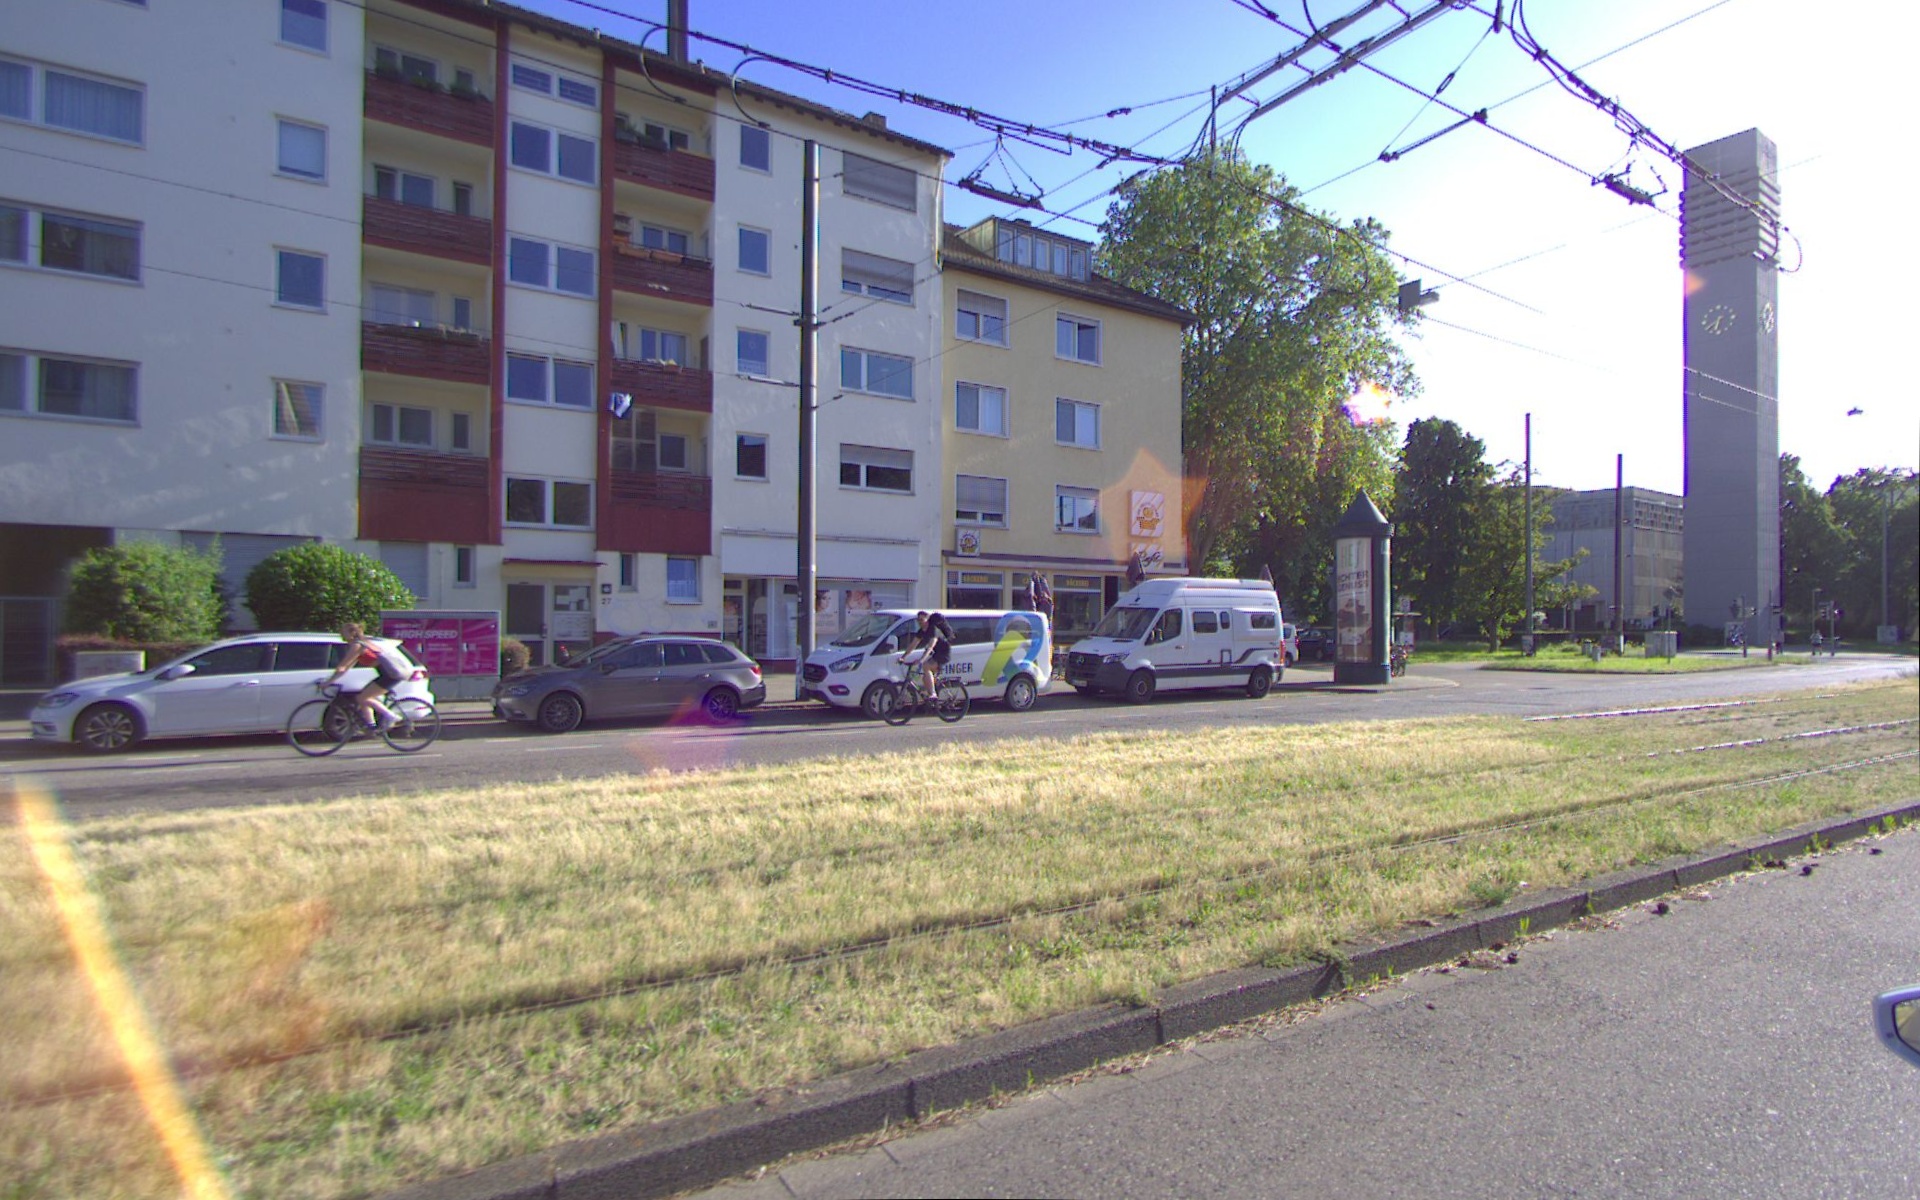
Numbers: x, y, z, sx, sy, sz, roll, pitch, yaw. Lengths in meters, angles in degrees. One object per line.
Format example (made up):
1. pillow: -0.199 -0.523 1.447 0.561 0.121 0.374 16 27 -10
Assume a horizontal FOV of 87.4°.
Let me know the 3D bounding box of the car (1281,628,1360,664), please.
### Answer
1. car: 17.355 2.178 48.521 1.719 1.622 3.990 0 -1 -13

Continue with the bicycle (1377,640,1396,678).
1. bicycle: 14.062 1.924 33.102 0.509 1.199 2.089 2 -1 24

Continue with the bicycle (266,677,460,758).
1. bicycle: -7.475 1.444 12.660 2.046 0.891 0.764 1 -3 -33

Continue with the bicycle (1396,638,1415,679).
1. bicycle: 14.579 1.891 32.904 0.509 1.268 2.089 2 0 24

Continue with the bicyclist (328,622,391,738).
1. bicyclist: -7.537 0.975 12.609 0.641 1.402 0.769 1 -2 -32

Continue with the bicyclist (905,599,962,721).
1. bicyclist: -0.470 1.020 17.391 0.641 2.041 0.768 1 1 -32

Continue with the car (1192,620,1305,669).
1. car: 11.726 1.799 40.872 3.937 1.851 1.992 1 1 -18

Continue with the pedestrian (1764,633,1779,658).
1. pedestrian: 55.173 3.070 68.269 0.735 1.689 0.442 1 1 -23

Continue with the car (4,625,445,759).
1. car: -9.889 1.138 13.974 4.655 1.511 1.880 1 1 -35

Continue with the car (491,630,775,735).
1. car: -5.462 1.292 17.009 4.283 1.535 1.683 1 0 -35

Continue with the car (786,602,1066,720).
1. car: -0.606 1.136 20.147 5.310 2.048 2.021 1 1 -32

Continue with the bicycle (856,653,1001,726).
1. bicycle: -0.526 1.505 17.273 2.447 1.161 0.764 1 -3 -33

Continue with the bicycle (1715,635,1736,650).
1. bicycle: 56.106 3.138 73.632 1.660 1.060 0.489 1 1 -25

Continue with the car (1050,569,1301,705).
1. car: 5.240 0.836 23.977 6.158 2.907 2.021 1 0 -32

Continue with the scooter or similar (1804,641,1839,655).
1. scooter or similar: 57.103 3.157 66.574 1.715 0.911 0.560 -1 -2 43
